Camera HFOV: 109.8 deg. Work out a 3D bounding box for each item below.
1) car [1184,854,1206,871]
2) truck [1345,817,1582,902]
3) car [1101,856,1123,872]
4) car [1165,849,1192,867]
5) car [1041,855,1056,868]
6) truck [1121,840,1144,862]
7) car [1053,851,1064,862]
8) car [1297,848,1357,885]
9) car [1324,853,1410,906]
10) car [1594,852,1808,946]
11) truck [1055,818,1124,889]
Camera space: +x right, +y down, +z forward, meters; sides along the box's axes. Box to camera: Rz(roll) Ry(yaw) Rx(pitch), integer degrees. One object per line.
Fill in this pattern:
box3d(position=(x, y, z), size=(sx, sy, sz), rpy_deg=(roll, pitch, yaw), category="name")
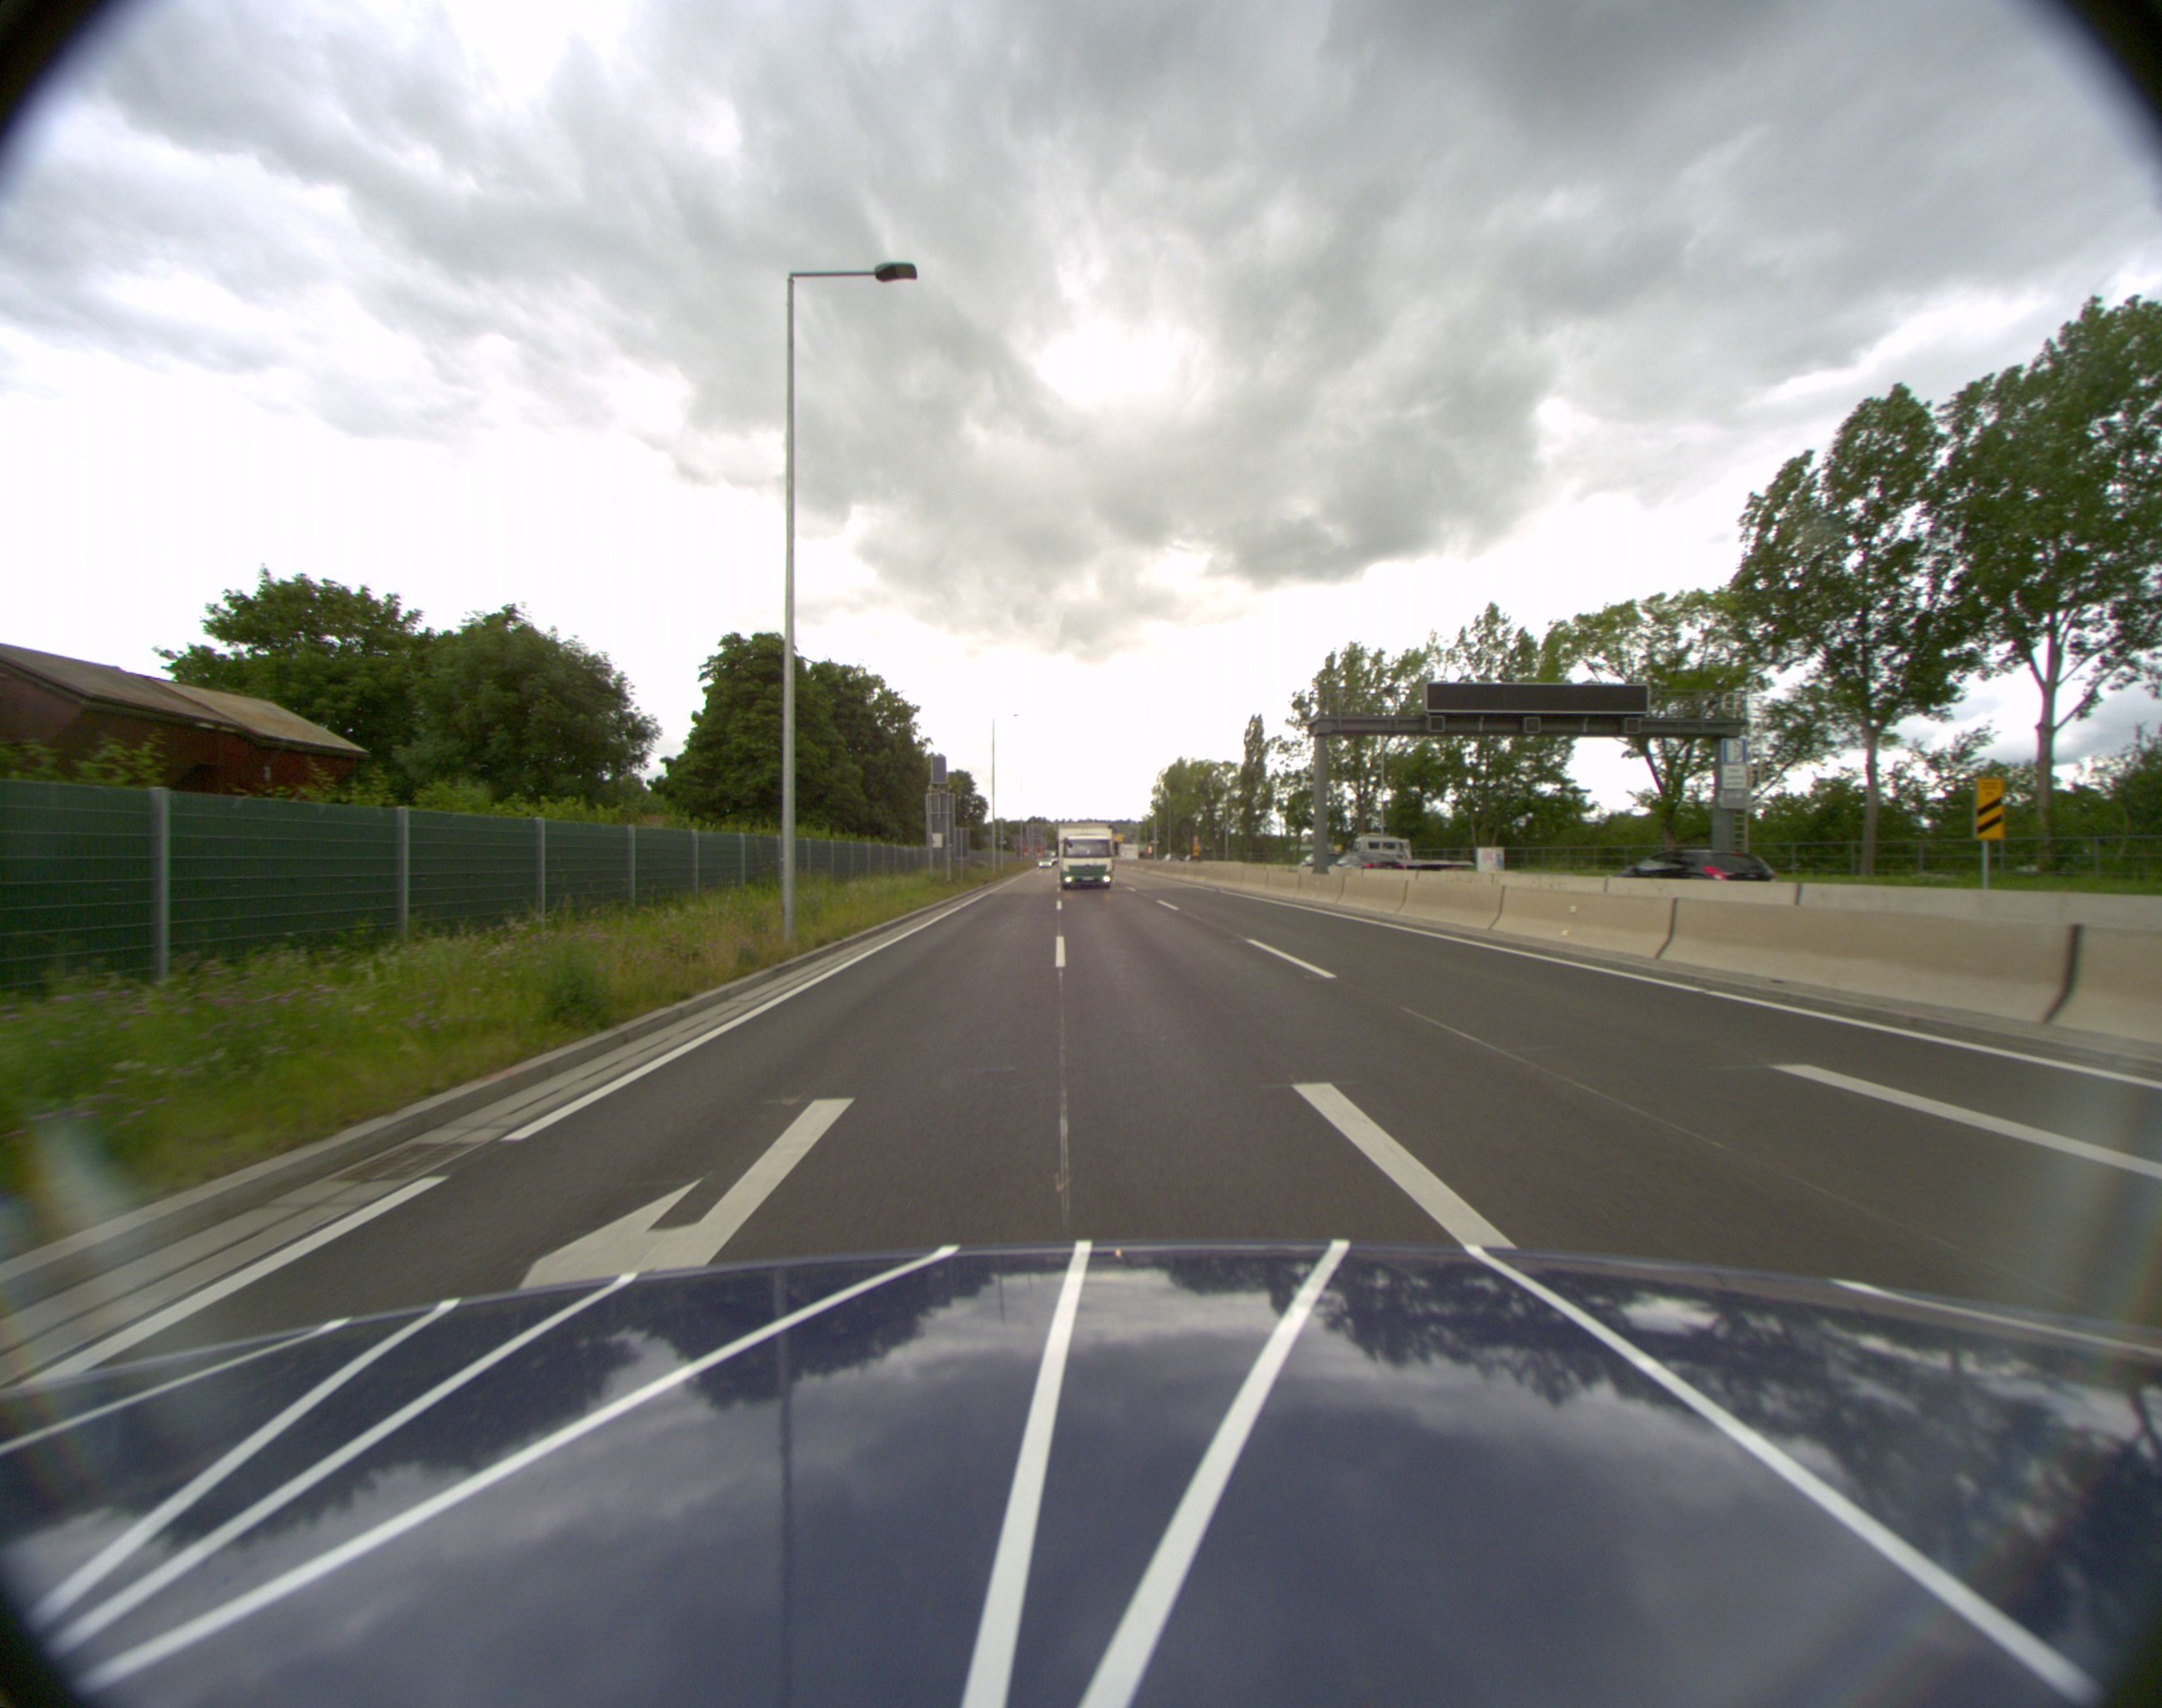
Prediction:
box3d(position=(14.030, 1.033, 94.032), size=(1.999, 2.002, 4.000), rpy_deg=(-3, 0, -1), category="car")
box3d(position=(17.326, 0.233, 36.830), size=(2.862, 3.089, 15.882), rpy_deg=(-3, 0, -2), category="truck")
box3d(position=(3.154, 1.022, 78.869), size=(1.999, 1.444, 4.000), rpy_deg=(-3, 0, -1), category="car")
box3d(position=(9.558, 0.399, 74.616), size=(1.931, 1.608, 4.455), rpy_deg=(-3, 0, -1), category="car")
box3d(position=(-4.663, 1.082, 110.104), size=(1.999, 1.849, 3.999), rpy_deg=(-3, 0, -2), category="car")
box3d(position=(7.503, -0.392, 111.214), size=(2.410, 3.089, 7.200), rpy_deg=(-3, 0, -2), category="truck")
box3d(position=(-4.447, 0.549, 148.675), size=(1.999, 2.002, 3.999), rpy_deg=(-3, 0, -2), category="car")
box3d(position=(13.688, 0.688, 42.505), size=(1.821, 1.866, 4.099), rpy_deg=(-3, 0, -3), category="car")
box3d(position=(11.282, 0.953, 30.271), size=(1.821, 1.892, 3.999), rpy_deg=(-3, 0, -1), category="car")
box3d(position=(15.270, 1.014, 19.057), size=(1.999, 2.002, 3.999), rpy_deg=(-3, 0, -1), category="car")
box3d(position=(0.265, -0.010, 38.467), size=(2.943, 3.064, 8.385), rpy_deg=(-2, 0, -2), category="truck")
